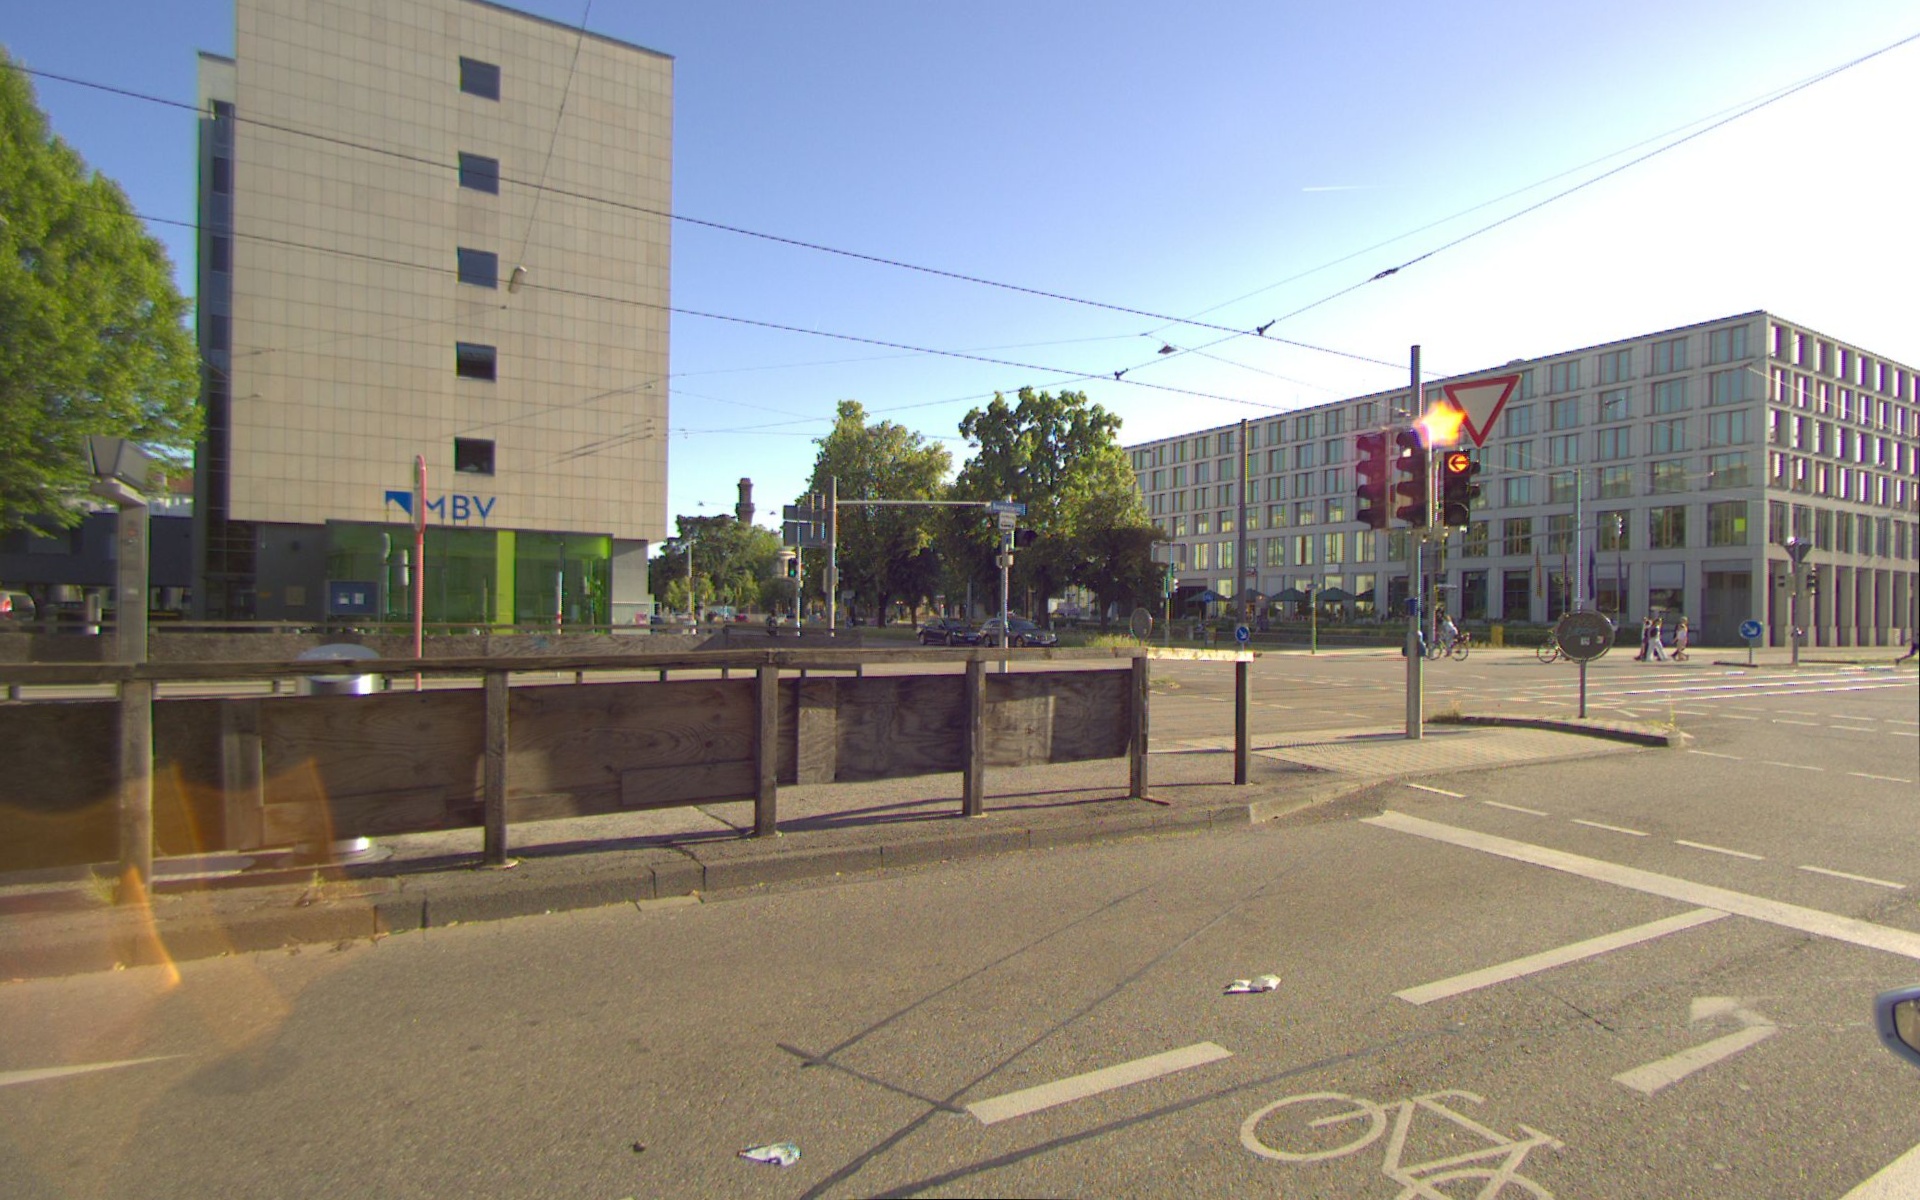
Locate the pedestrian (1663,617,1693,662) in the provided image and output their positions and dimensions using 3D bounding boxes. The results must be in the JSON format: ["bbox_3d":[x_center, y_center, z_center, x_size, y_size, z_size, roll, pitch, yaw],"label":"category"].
[{"bbox_3d":[29.636,1.623,41.486,0.525,1.827,0.867,1,-1,-24],"label":"pedestrian"}]

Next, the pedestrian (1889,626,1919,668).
[{"bbox_3d":[31.431,1.546,33.196,0.760,1.335,0.986,1,-1,-39],"label":"pedestrian"}]

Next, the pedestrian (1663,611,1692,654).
[{"bbox_3d":[29.855,1.348,41.779,0.668,1.784,0.746,2,-2,-25],"label":"pedestrian"}]

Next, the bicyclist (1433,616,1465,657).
[{"bbox_3d":[19.072,1.409,39.161,0.570,1.581,0.966,1,-1,-41],"label":"bicyclist"}]

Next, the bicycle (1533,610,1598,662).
[{"bbox_3d":[21.242,1.242,35.260,1.876,1.758,0.594,0,-1,42],"label":"bicycle"}]

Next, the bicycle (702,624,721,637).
[{"bbox_3d":[-18.487,2.274,74.785,0.818,0.973,2.132,1,-1,-31],"label":"bicycle"}]

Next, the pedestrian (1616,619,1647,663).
[{"bbox_3d":[27.950,1.700,41.840,0.654,1.827,0.868,1,-1,-24],"label":"pedestrian"}]

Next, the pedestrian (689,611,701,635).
[{"bbox_3d":[-19.453,1.716,73.698,0.666,1.739,0.754,1,-1,-32],"label":"pedestrian"}]

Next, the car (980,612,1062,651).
[{"bbox_3d":[2.831,1.458,47.819,1.829,1.602,4.496,1,1,-28],"label":"car"}]

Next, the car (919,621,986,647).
[{"bbox_3d":[-0.436,1.771,53.266,1.755,1.311,4.209,1,-1,-30],"label":"car"}]

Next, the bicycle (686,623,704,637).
[{"bbox_3d":[-19.438,2.187,73.646,0.669,0.973,2.131,1,-1,-32],"label":"bicycle"}]

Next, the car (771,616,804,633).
[{"bbox_3d":[-16.144,2.286,93.794,1.614,1.452,4.021,3,-2,-31],"label":"car"}]

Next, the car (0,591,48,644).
[{"bbox_3d":[-27.743,0.451,27.752,3.371,1.431,1.562,2,0,-20],"label":"car"}]

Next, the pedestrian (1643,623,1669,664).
[{"bbox_3d":[28.664,1.769,41.382,0.613,1.666,0.691,1,-1,-28],"label":"pedestrian"}]

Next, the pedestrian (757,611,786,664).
[{"bbox_3d":[-6.222,1.233,33.151,0.814,1.739,0.757,1,-1,-18],"label":"pedestrian"}]

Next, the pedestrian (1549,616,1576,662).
[{"bbox_3d":[26.067,1.682,43.443,0.628,1.943,0.800,1,-1,-24],"label":"pedestrian"}]

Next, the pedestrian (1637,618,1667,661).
[{"bbox_3d":[27.066,1.535,39.297,0.615,1.666,0.787,1,-1,-34],"label":"pedestrian"}]

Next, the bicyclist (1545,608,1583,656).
[{"bbox_3d":[21.205,1.105,35.281,1.062,1.662,0.594,0,-1,41],"label":"bicyclist"}]

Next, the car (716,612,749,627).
[{"bbox_3d":[-24.241,2.082,106.992,1.978,1.433,4.710,4,-2,-31],"label":"car"}]

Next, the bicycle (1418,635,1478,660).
[{"bbox_3d":[19.028,1.840,39.206,0.570,0.945,2.047,1,-1,-40],"label":"bicycle"}]

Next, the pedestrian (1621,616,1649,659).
[{"bbox_3d":[28.671,1.583,42.691,0.706,1.827,0.737,1,-1,-24],"label":"pedestrian"}]

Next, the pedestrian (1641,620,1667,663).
[{"bbox_3d":[29.905,1.774,43.281,0.525,1.827,0.737,1,-1,-24],"label":"pedestrian"}]

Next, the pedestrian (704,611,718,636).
[{"bbox_3d":[-18.523,1.751,74.859,0.818,1.829,0.754,1,-1,-31],"label":"pedestrian"}]
